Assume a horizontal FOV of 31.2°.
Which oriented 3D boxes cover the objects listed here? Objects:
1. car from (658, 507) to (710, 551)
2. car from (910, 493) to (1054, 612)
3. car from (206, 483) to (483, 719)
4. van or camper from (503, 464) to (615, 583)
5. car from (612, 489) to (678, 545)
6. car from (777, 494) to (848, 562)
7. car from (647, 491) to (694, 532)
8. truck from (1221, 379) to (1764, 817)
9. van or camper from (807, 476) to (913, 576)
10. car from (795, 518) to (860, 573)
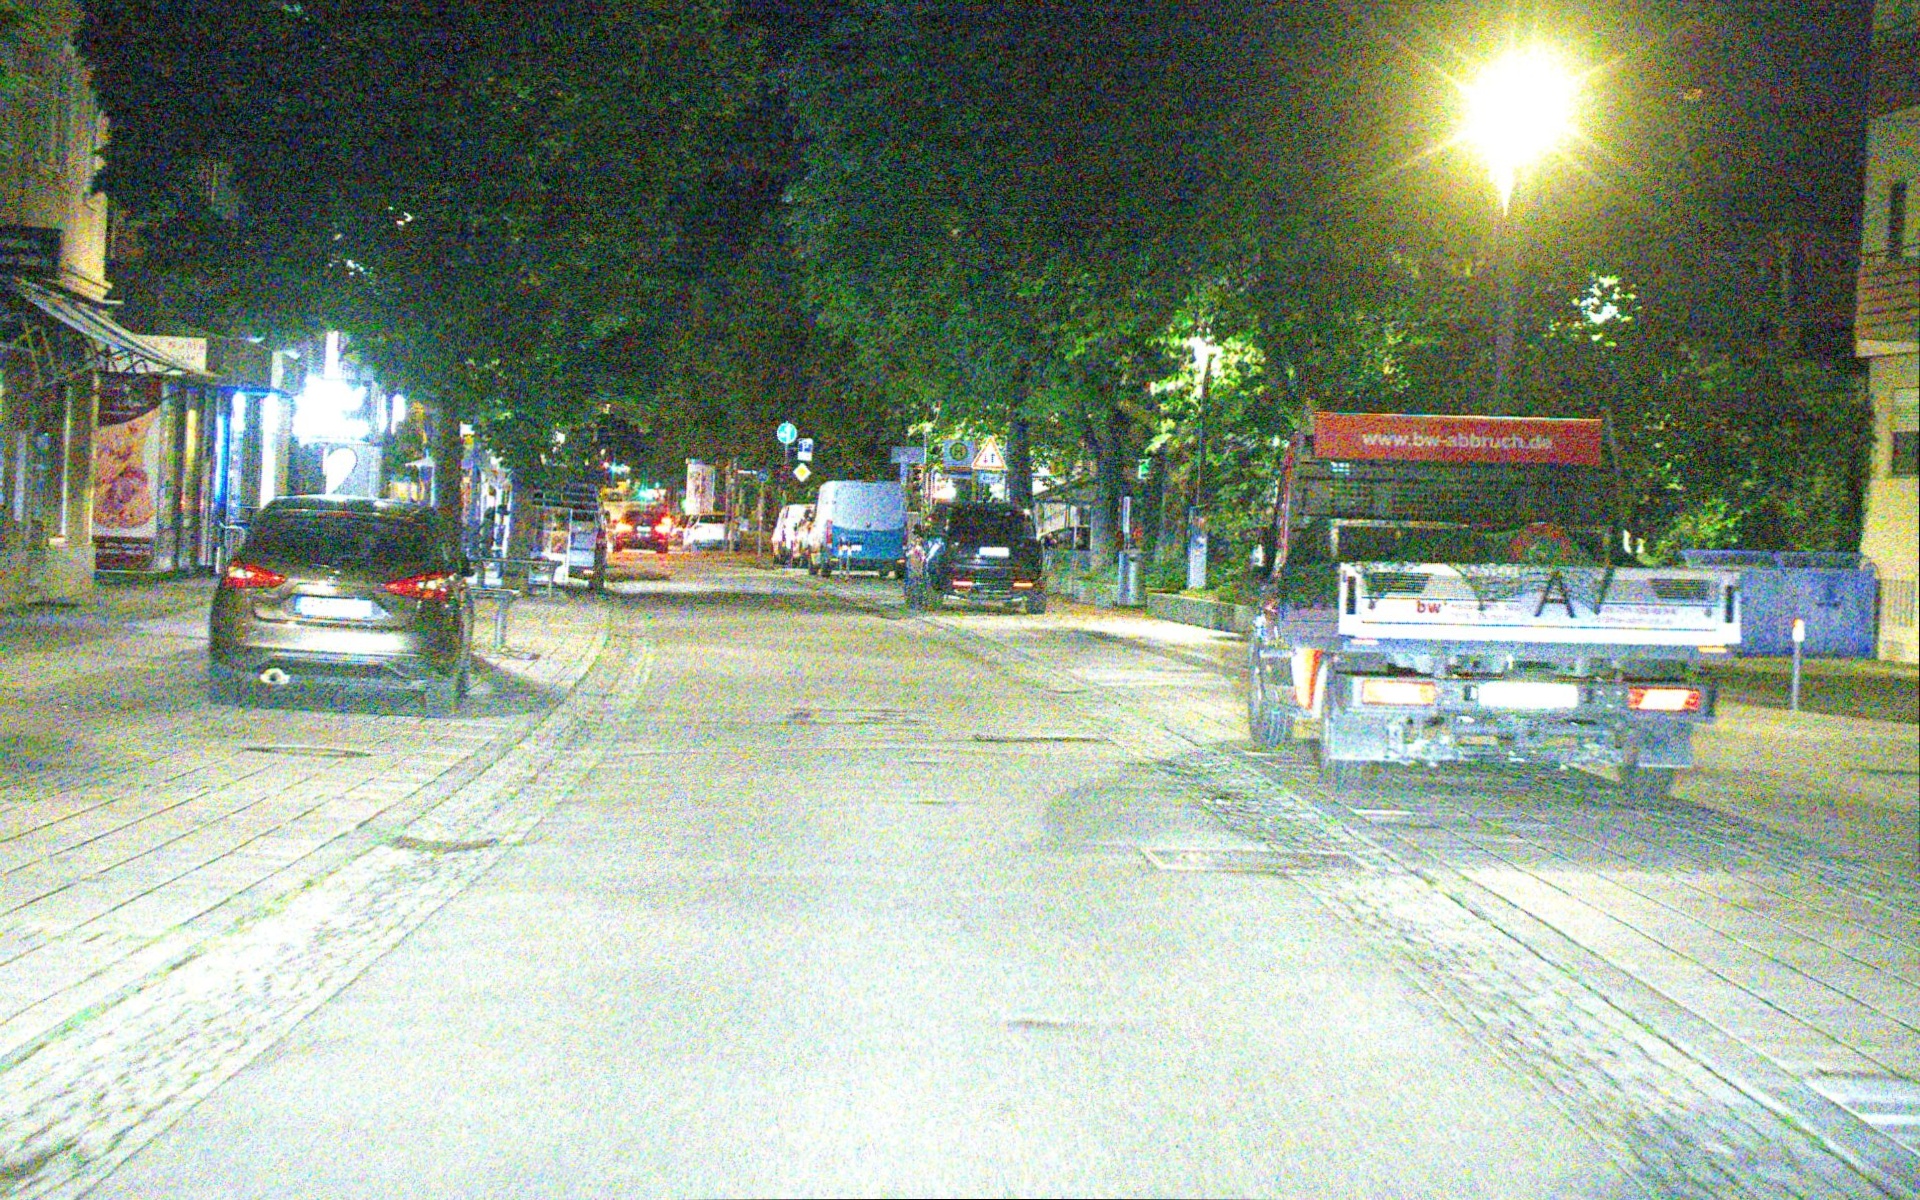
[{"bbox_3d":[-10.348,-2.661,128.780,1.839,1.537,3.846,2,1,-5],"label":"car"},{"bbox_3d":[0.321,-0.811,56.823,1.814,1.822,4.348,2,1,-6],"label":"car"},{"bbox_3d":[-4.530,-0.047,25.798,1.673,1.538,4.231,3,1,-6],"label":"car"},{"bbox_3d":[-7.416,-1.426,63.460,1.866,2.004,4.263,4,1,-7],"label":"van or camper"},{"bbox_3d":[-11.013,-2.904,119.916,1.993,1.817,4.001,2,1,-8],"label":"car"},{"bbox_3d":[-4.373,-2.144,101.516,1.839,1.894,3.846,2,1,-5],"label":"car"},{"bbox_3d":[-13.563,-4.136,160.807,1.993,1.817,4.001,2,1,-7],"label":"car"},{"bbox_3d":[3.104,-0.080,21.515,2.336,2.304,5.781,2,1,-1],"label":"truck"},{"bbox_3d":[-2.442,-1.789,82.779,2.108,2.309,4.263,1,1,-7],"label":"van or camper"},{"bbox_3d":[-3.698,-1.530,95.392,1.531,1.413,3.846,2,1,-5],"label":"car"}]
